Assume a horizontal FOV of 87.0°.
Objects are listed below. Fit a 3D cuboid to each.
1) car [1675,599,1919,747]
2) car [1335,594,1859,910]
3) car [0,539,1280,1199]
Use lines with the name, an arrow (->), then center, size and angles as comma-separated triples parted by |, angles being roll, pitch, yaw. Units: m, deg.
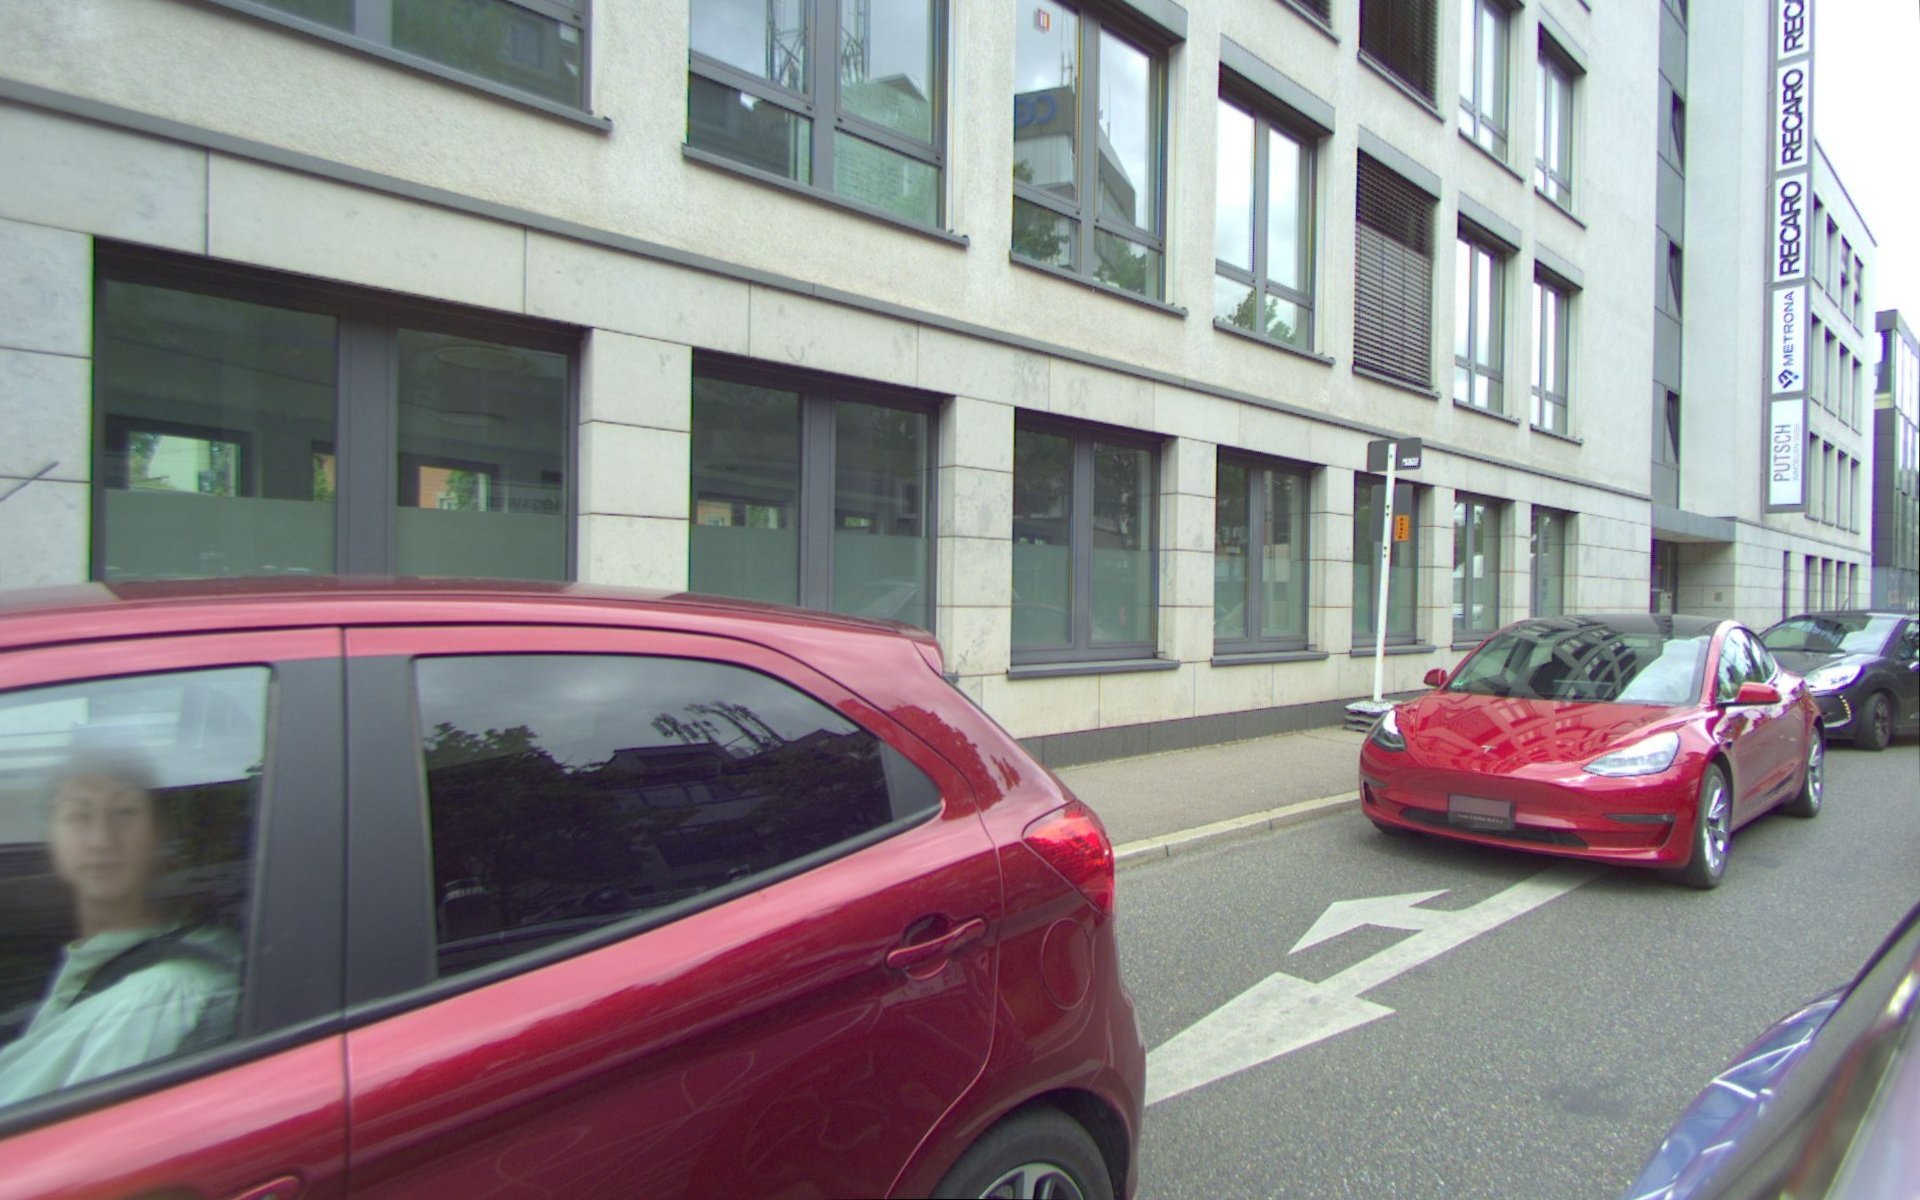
car -> 10.315, 0.734, 11.558 | 3.655, 1.476, 1.749 | 0, -1, -21
car -> 4.502, 0.723, 6.855 | 4.331, 1.476, 1.823 | 0, -1, -41
car -> -1.420, 0.722, 1.578 | 3.930, 1.511, 1.888 | 0, -2, -41
